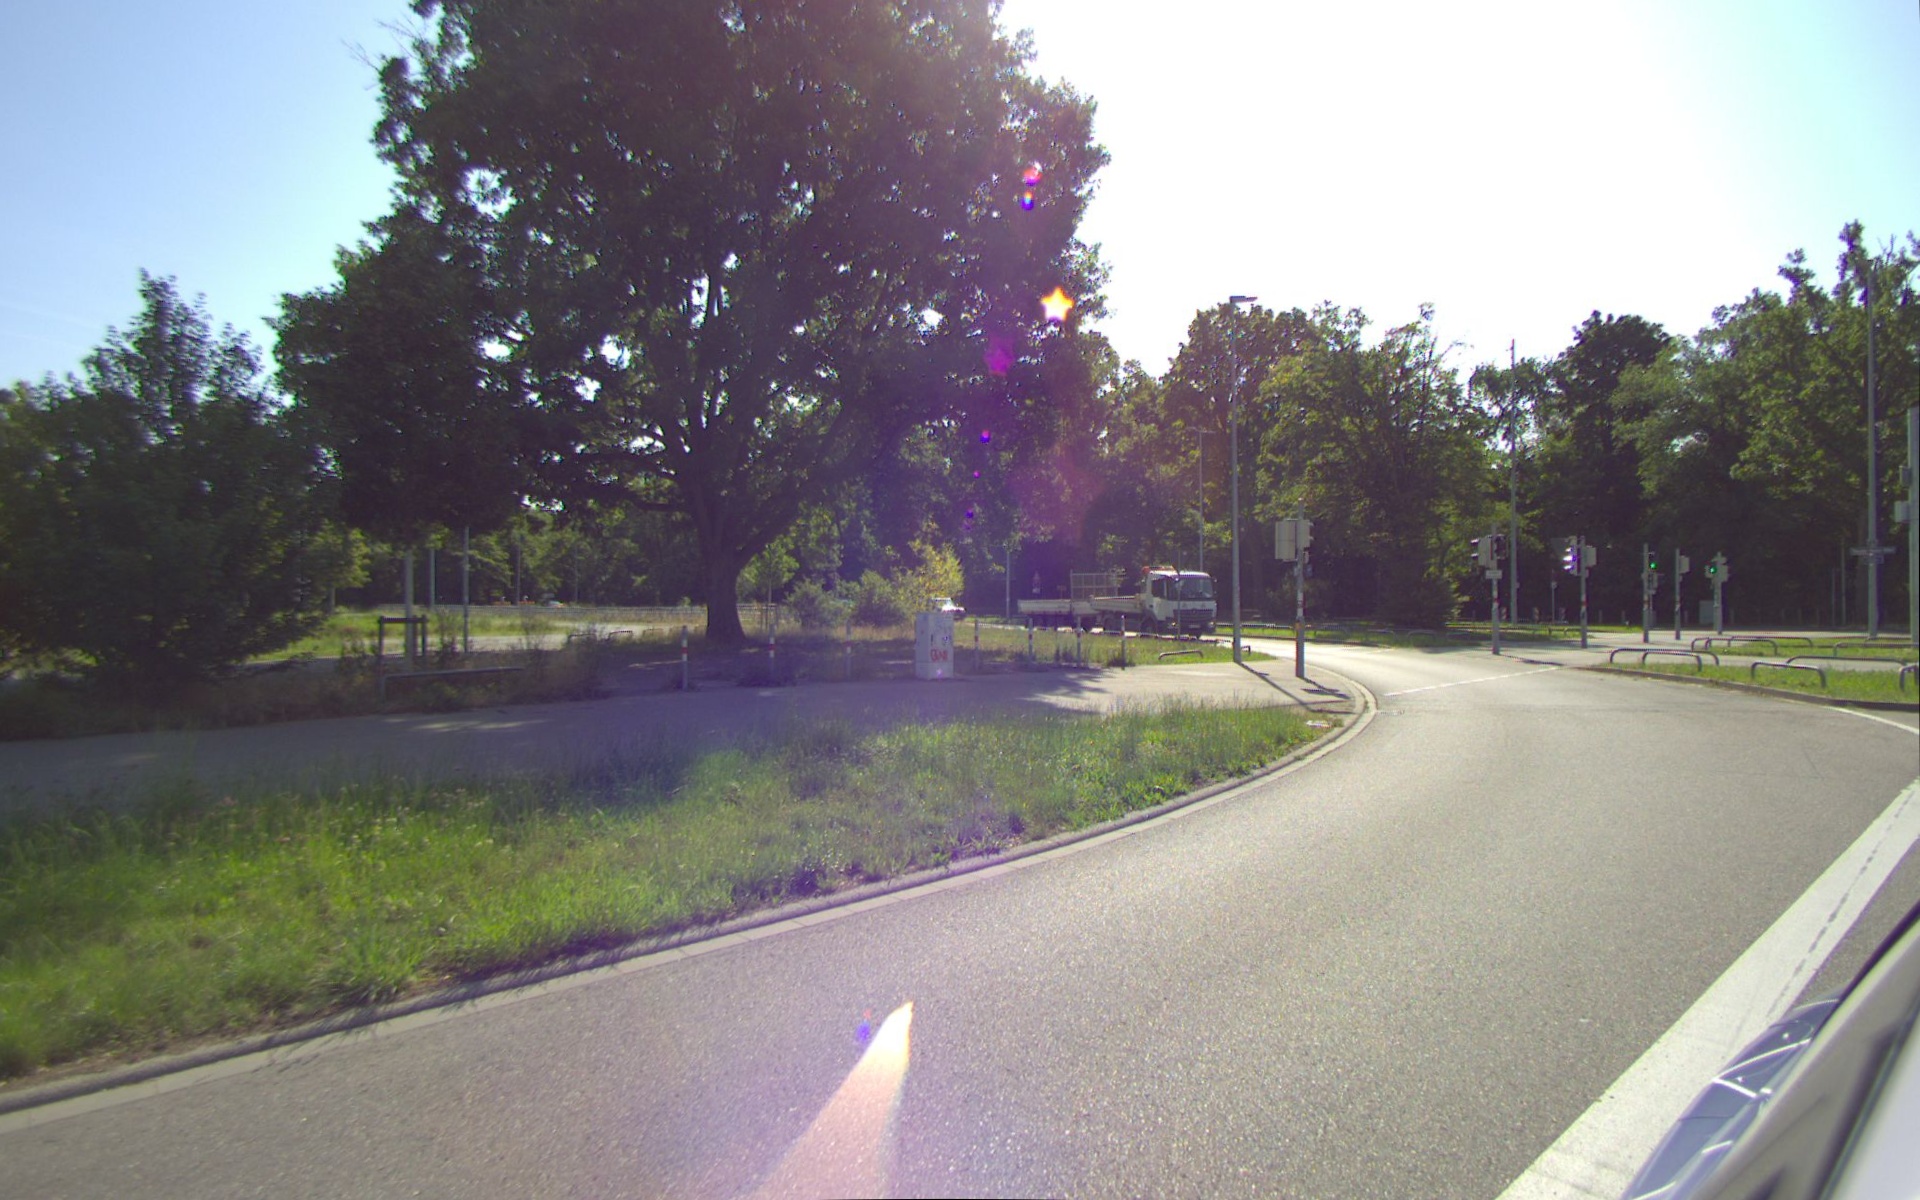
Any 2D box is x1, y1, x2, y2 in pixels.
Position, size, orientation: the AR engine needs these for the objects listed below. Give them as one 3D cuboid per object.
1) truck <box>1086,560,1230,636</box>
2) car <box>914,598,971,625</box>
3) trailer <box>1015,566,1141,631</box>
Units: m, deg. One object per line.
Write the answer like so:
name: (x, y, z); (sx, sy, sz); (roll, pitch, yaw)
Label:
truck: (7.656, -0.061, 40.039); (2.624, 2.752, 6.215); (0, 0, -22)
car: (-1.055, 0.630, 59.208); (1.809, 1.502, 4.006); (0, 0, -26)
trailer: (5.183, -0.057, 45.981); (2.647, 2.721, 6.901); (0, 0, -23)
